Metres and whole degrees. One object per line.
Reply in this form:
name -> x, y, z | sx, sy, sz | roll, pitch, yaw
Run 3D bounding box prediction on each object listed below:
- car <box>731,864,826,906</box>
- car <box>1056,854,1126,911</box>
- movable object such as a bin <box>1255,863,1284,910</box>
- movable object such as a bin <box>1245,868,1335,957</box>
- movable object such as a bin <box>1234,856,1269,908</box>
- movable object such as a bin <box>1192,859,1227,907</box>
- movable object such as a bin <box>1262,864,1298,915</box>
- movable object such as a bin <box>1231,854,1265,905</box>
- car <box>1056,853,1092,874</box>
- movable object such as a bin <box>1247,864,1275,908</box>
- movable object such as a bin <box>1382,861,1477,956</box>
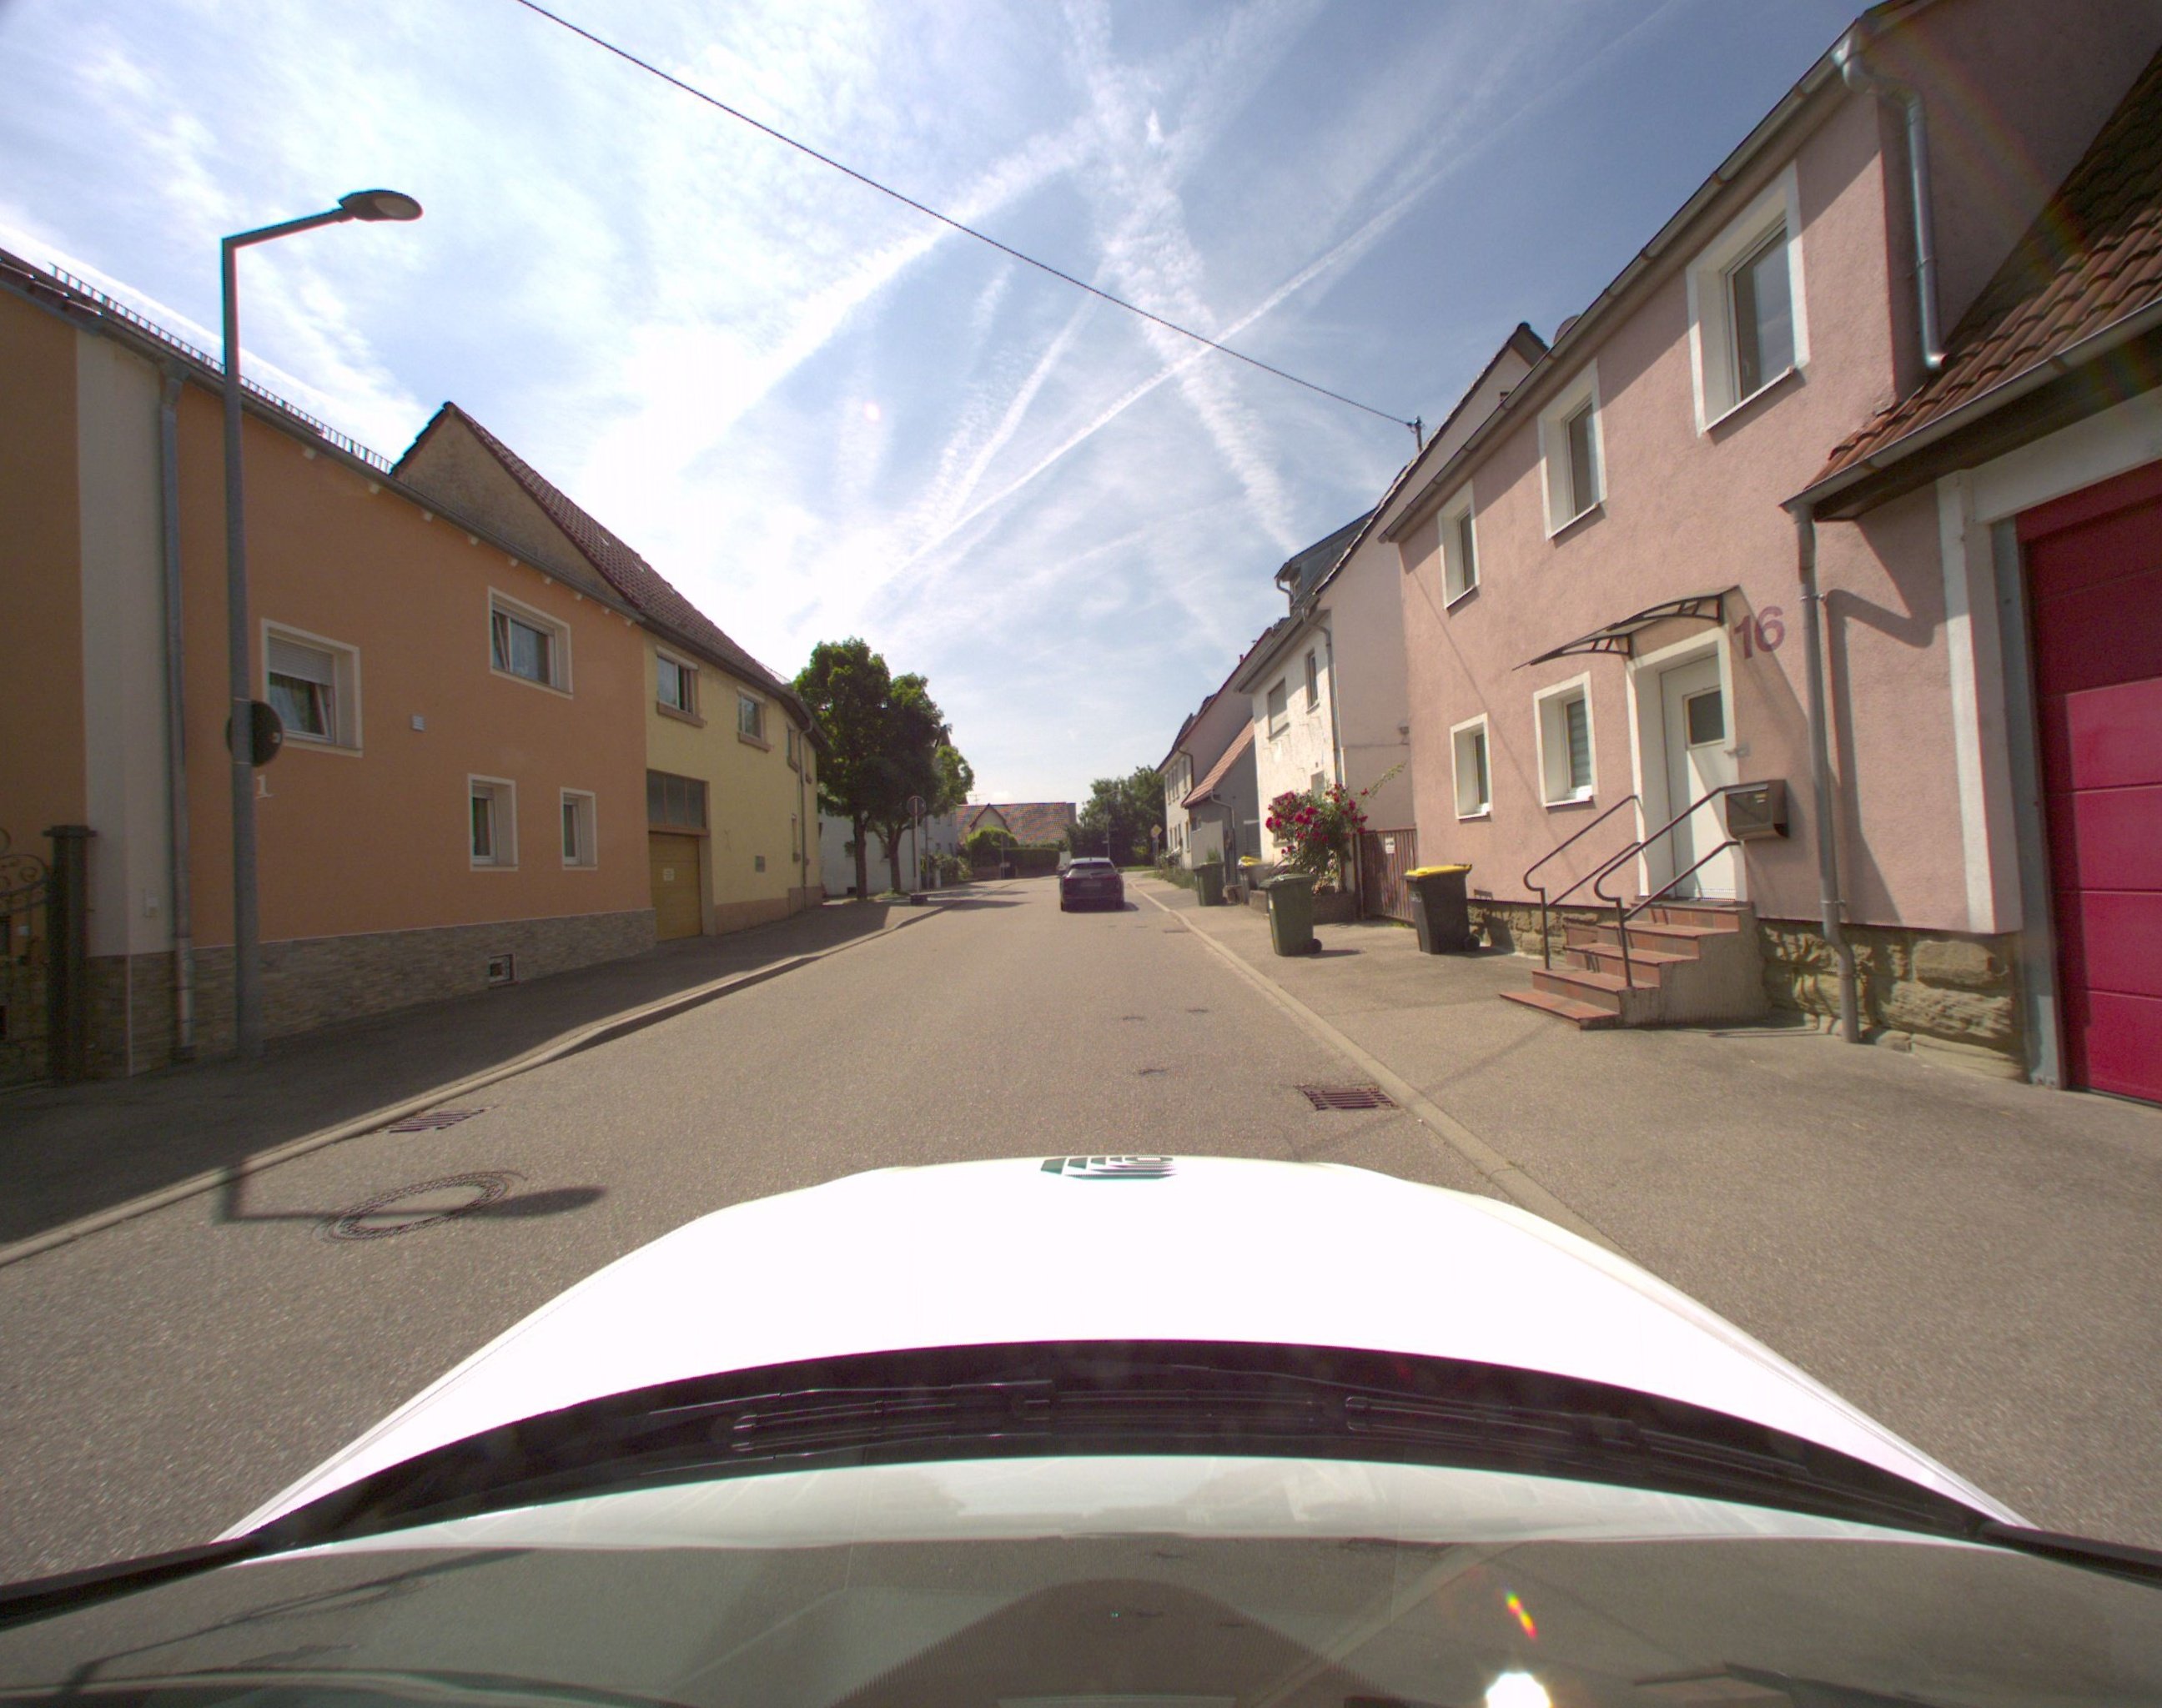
car -> -14.095, 1.431, 38.174 | 3.997, 1.750, 1.988 | -2, -1, -18
car -> 0.375, 0.762, 23.873 | 1.834, 1.420, 4.685 | -2, 0, 3
movable object such as a bin -> 4.148, 0.717, 17.906 | 0.502, 0.994, 0.442 | -3, 0, 0
movable object such as a bin -> 2.880, 0.788, 11.312 | 0.874, 1.074, 0.871 | -7, 0, -4
movable object such as a bin -> 4.028, 0.653, 19.319 | 0.662, 1.194, 0.588 | -3, 0, 0
movable object such as a bin -> 3.213, 0.705, 20.411 | 0.677, 1.155, 0.819 | -2, 0, -4
movable object such as a bin -> 4.207, 0.745, 17.262 | 0.590, 1.040, 0.530 | -3, 0, 0
movable object such as a bin -> 4.096, 0.620, 20.010 | 0.662, 1.194, 0.660 | -3, 0, 0
car -> -0.729, 1.019, 86.259 | 2.109, 2.013, 4.963 | -3, 0, 21
movable object such as a bin -> 4.152, 0.733, 18.787 | 0.502, 0.994, 0.442 | -3, 0, 0
movable object such as a bin -> 4.287, 0.646, 10.070 | 0.677, 1.050, 0.834 | -7, 0, -4
